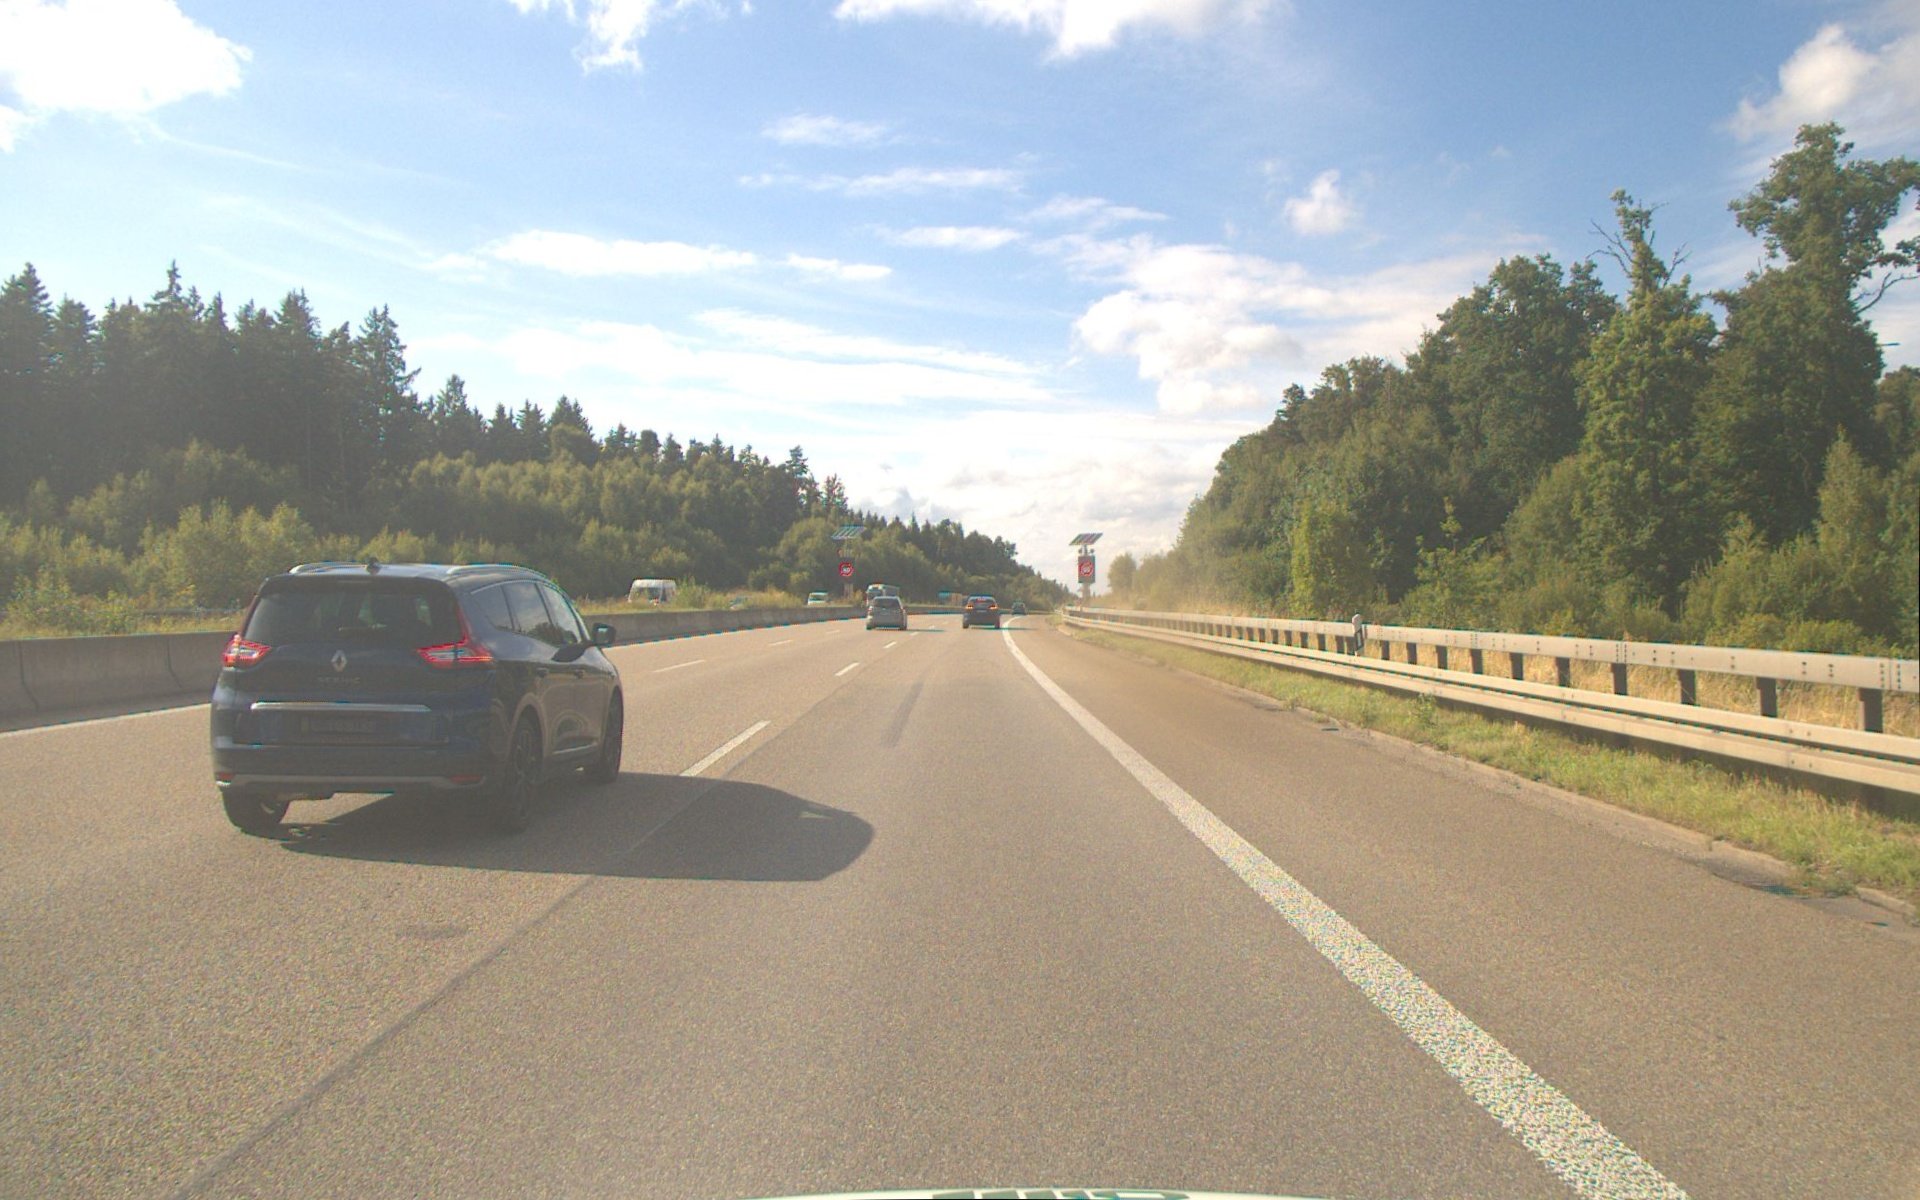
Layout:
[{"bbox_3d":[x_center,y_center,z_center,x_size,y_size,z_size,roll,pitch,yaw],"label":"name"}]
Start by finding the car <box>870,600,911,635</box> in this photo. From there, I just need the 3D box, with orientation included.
[{"bbox_3d":[-3.246,0.799,77.411,1.836,1.523,3.878,1,1,-3],"label":"car"}]

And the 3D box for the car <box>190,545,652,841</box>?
[{"bbox_3d":[-3.617,0.547,12.090,1.953,1.736,4.528,1,0,-1],"label":"car"}]

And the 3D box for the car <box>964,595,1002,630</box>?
[{"bbox_3d":[1.163,0.642,85.913,1.835,1.704,3.889,1,1,-1],"label":"car"}]

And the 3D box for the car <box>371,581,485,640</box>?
[{"bbox_3d":[-15.507,0.286,48.464,1.886,1.637,4.464,1,0,0],"label":"car"}]

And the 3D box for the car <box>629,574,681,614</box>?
[{"bbox_3d":[-17.889,-0.341,97.313,2.022,2.283,5.204,1,0,1],"label":"car"}]

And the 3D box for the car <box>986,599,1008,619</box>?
[{"bbox_3d":[3.855,0.971,174.451,1.954,2.049,3.998,1,0,-3],"label":"car"}]

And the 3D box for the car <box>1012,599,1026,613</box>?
[{"bbox_3d":[7.372,0.710,205.803,1.774,1.735,4.001,0,0,2],"label":"car"}]
